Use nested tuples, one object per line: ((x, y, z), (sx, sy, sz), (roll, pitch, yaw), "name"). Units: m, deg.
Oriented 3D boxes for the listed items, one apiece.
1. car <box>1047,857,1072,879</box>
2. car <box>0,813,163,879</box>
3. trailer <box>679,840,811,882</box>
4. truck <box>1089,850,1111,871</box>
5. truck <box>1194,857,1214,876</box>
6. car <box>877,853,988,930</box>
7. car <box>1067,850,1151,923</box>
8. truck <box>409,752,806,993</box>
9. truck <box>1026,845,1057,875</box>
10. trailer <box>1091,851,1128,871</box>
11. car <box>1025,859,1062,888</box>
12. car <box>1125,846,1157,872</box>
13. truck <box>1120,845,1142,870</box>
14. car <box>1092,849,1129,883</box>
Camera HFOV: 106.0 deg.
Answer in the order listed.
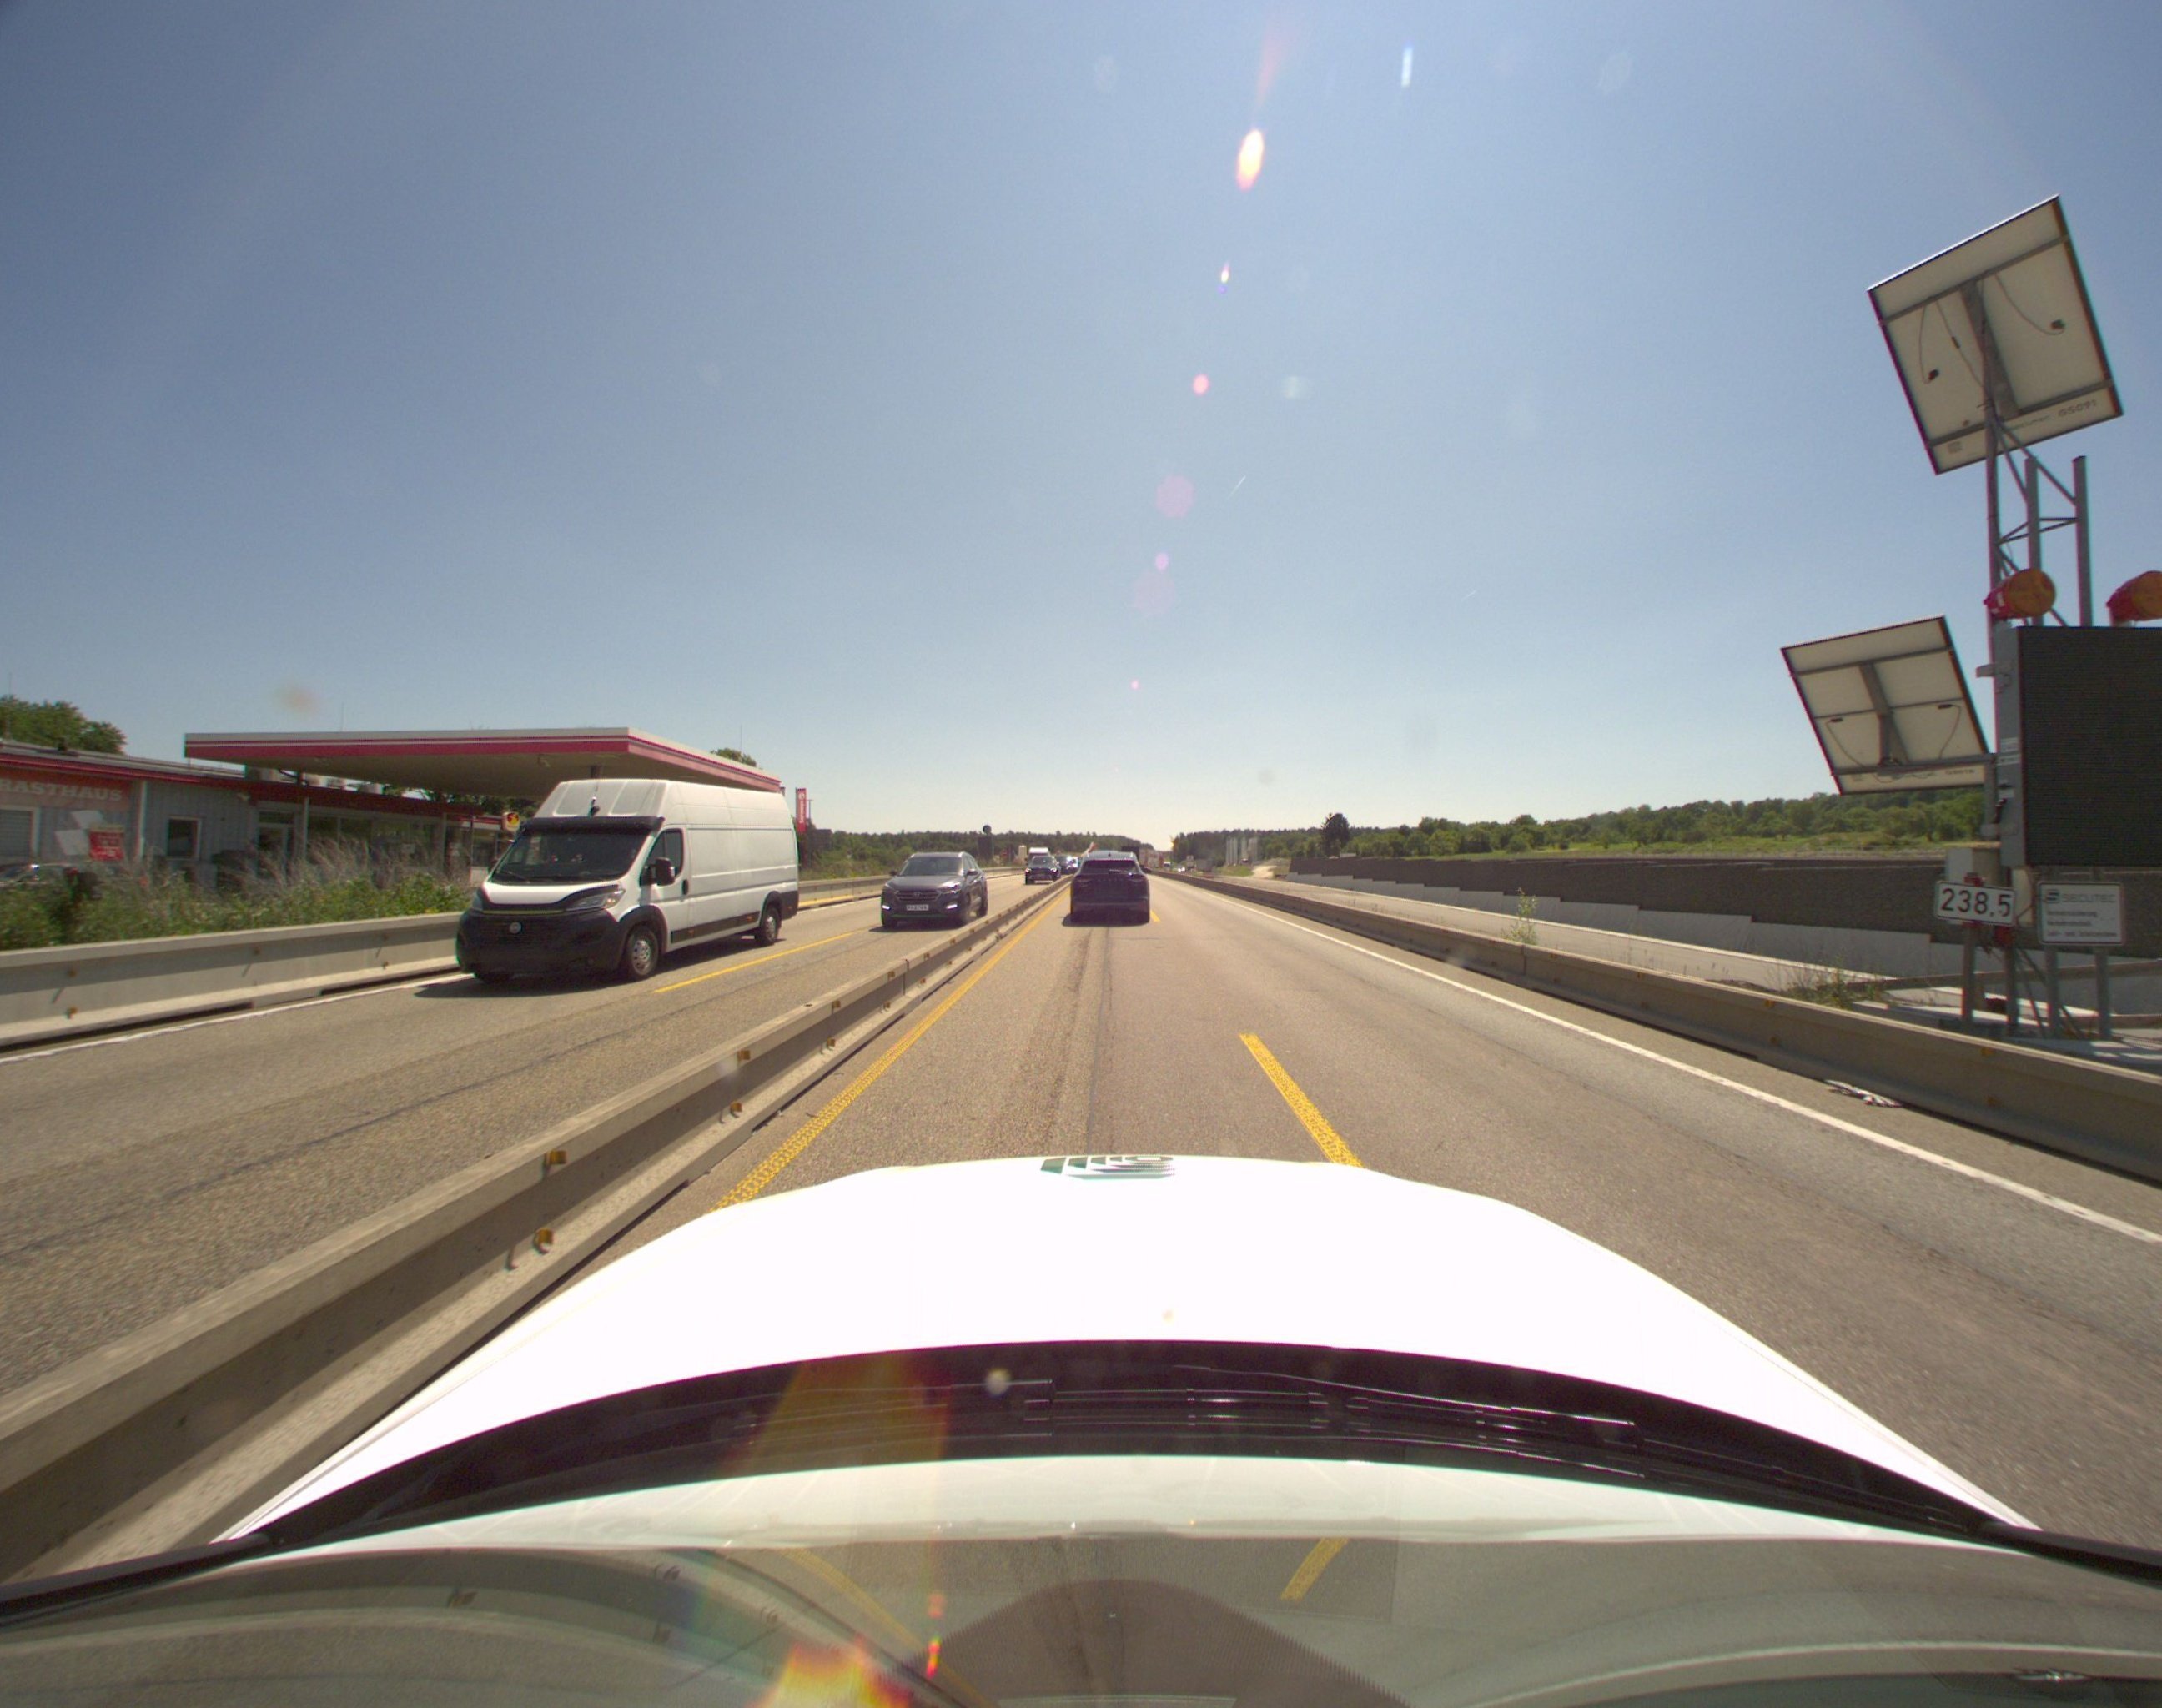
((-1.834, 1.185, 71.351), (1.900, 1.804, 5.083), (0, 0, 1), "car")
((-24.781, -0.205, 19.167), (1.640, 1.333, 4.001), (7, 1, 1), "car")
((-35.626, 0.772, 87.390), (3.120, 4.111, 14.249), (-1, -1, 29), "trailer")
((3.876, 1.373, 165.133), (2.891, 4.129, 6.166), (0, -1, 18), "truck")
((29.645, 3.039, 195.773), (3.452, 4.220, 10.413), (5, 0, 14), "truck")
((-3.333, 0.783, 19.039), (1.933, 1.611, 3.998), (0, 0, -1), "car")
((0.700, 0.707, 19.726), (1.835, 1.582, 4.003), (0, 0, 3), "car")
((-6.559, 0.207, 12.645), (2.231, 2.786, 6.494), (0, 0, 1), "truck")
((-3.924, 0.632, 83.318), (2.470, 2.824, 8.132), (0, -1, 2), "truck")
((6.148, 1.464, 170.749), (2.889, 4.129, 13.990), (0, -1, 23), "trailer")
((-2.170, 1.107, 48.069), (1.849, 1.603, 4.737), (0, 0, 1), "car")
((10.574, 0.930, 142.392), (3.411, 4.101, 9.235), (4, -1, 16), "car")
((6.202, 0.420, 102.305), (2.662, 2.945, 5.624), (0, 0, 3), "truck")
((1.656, 0.695, 47.255), (1.987, 1.844, 4.000), (2, -1, 1), "car")
